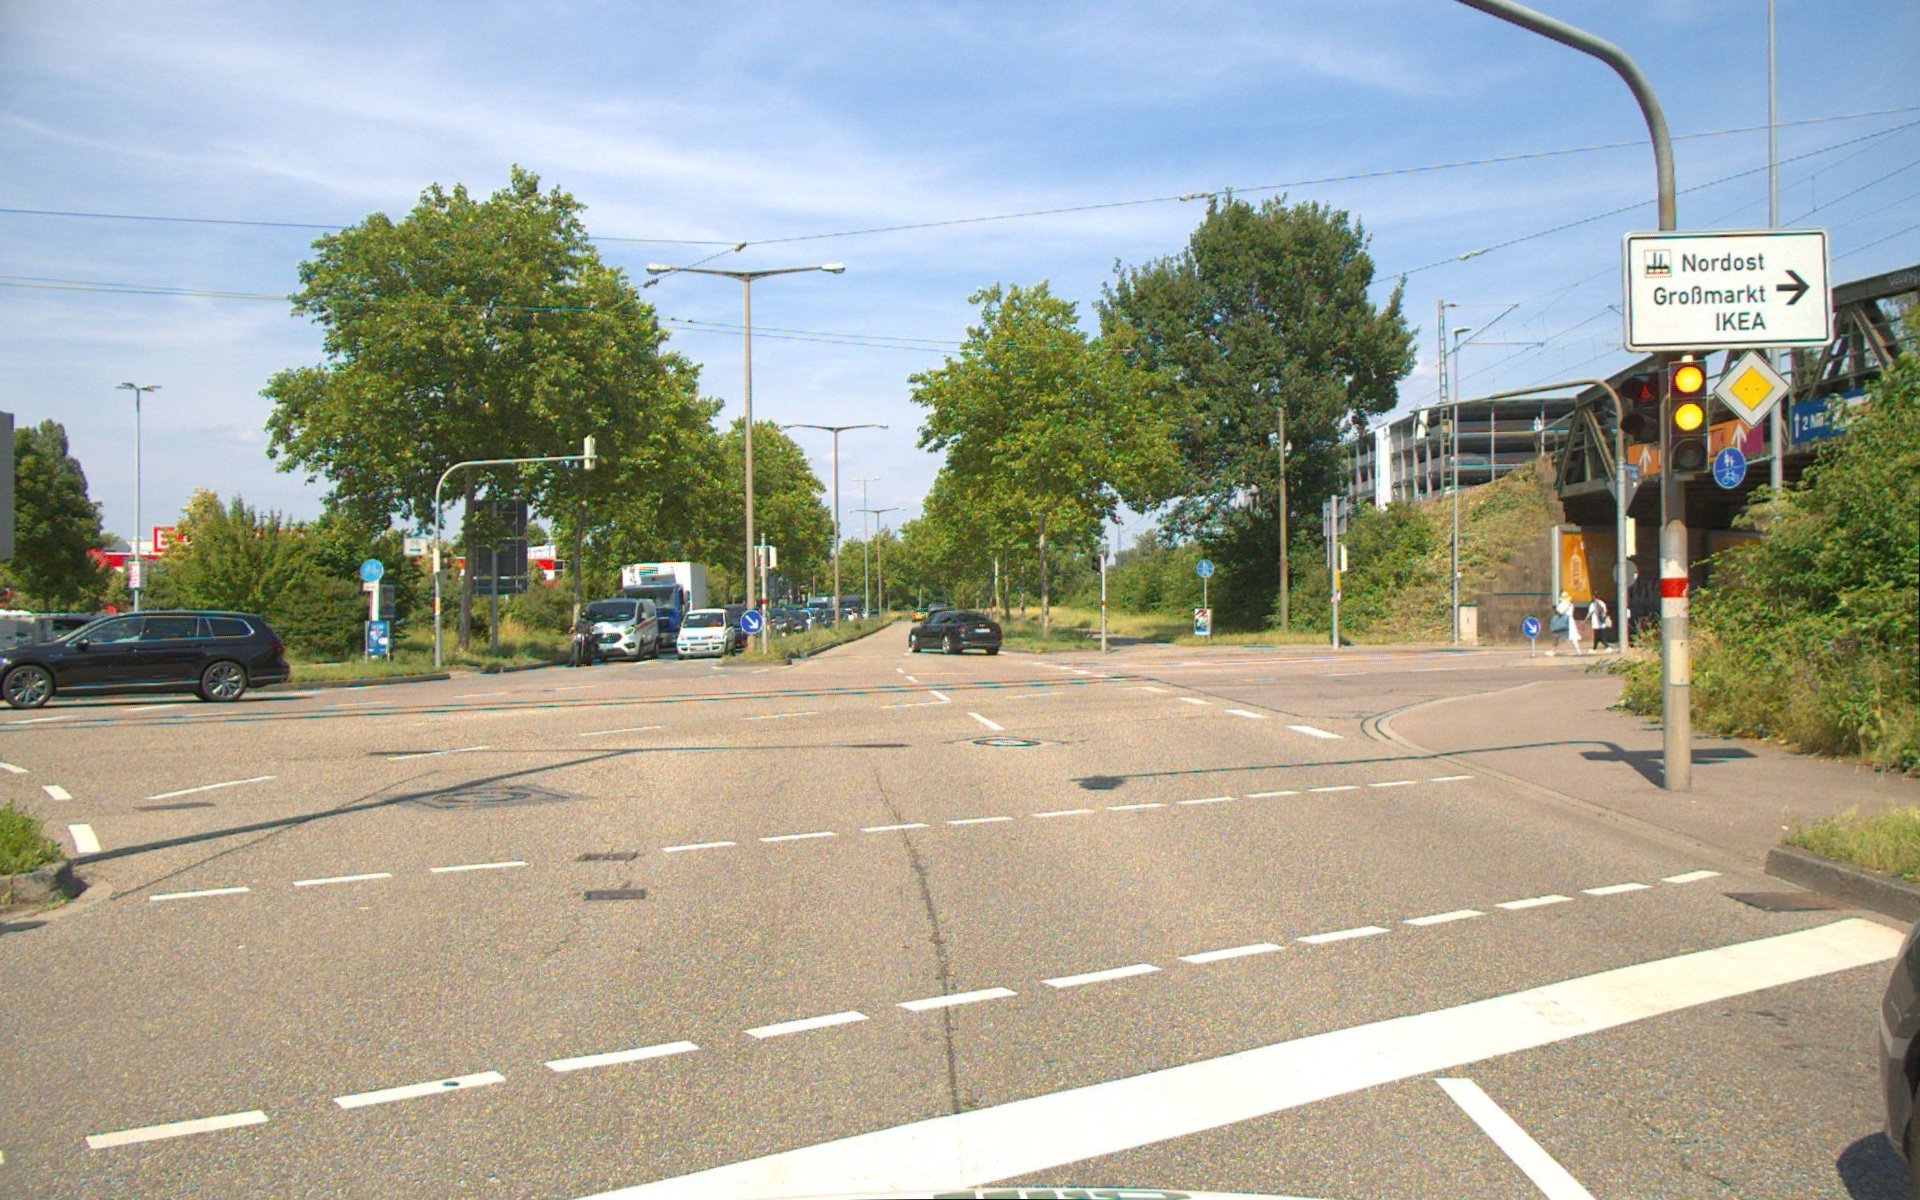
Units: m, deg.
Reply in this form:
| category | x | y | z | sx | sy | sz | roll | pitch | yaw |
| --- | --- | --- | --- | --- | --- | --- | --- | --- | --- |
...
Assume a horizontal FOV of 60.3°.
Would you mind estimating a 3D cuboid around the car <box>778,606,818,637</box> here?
| category | x | y | z | sx | sy | sz | roll | pitch | yaw |
| --- | --- | --- | --- | --- | --- | --- | --- | --- | --- |
| car | -8.270 | 1.088 | 84.727 | 1.654 | 1.497 | 3.814 | -2 | 0 | -1 |

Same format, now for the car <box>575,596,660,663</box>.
| category | x | y | z | sx | sy | sz | roll | pitch | yaw |
| --- | --- | --- | --- | --- | --- | --- | --- | --- | --- |
| car | -10.930 | 0.903 | 53.067 | 1.937 | 2.034 | 5.028 | -1 | 0 | -3 |

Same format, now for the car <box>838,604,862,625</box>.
| category | x | y | z | sx | sy | sz | roll | pitch | yaw |
| --- | --- | --- | --- | --- | --- | --- | --- | --- | --- |
| car | -8.754 | 1.158 | 131.637 | 1.654 | 1.537 | 3.814 | -2 | 0 | -1 |

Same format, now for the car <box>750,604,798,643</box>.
| category | x | y | z | sx | sy | sz | roll | pitch | yaw |
| --- | --- | --- | --- | --- | --- | --- | --- | --- | --- |
| car | -8.048 | 0.993 | 71.821 | 1.654 | 1.614 | 4.239 | -2 | 0 | -1 |

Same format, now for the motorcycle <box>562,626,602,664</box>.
| category | x | y | z | sx | sy | sz | roll | pitch | yaw |
| --- | --- | --- | --- | --- | --- | --- | --- | --- | --- |
| motorcycle | -10.959 | 1.294 | 47.968 | 0.674 | 1.009 | 2.217 | -1 | 0 | -1 |

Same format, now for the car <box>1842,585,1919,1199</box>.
| category | x | y | z | sx | sy | sz | roll | pitch | yaw |
| --- | --- | --- | --- | --- | --- | --- | --- | --- | --- |
| car | 2.985 | 0.715 | 2.057 | 1.640 | 1.479 | 4.036 | 1 | 0 | 0 |

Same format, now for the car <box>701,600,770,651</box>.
| category | x | y | z | sx | sy | sz | roll | pitch | yaw |
| --- | --- | --- | --- | --- | --- | --- | --- | --- | --- |
| car | -7.866 | 0.894 | 58.298 | 1.783 | 1.675 | 4.692 | -2 | -1 | -1 |

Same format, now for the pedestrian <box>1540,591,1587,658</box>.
| category | x | y | z | sx | sy | sz | roll | pitch | yaw |
| --- | --- | --- | --- | --- | --- | --- | --- | --- | --- |
| pedestrian | 14.928 | 0.597 | 40.927 | 0.850 | 1.640 | 0.777 | -1 | 0 | -1 |

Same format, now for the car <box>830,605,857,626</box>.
| category | x | y | z | sx | sy | sz | roll | pitch | yaw |
| --- | --- | --- | --- | --- | --- | --- | --- | --- | --- |
| car | -8.768 | 1.169 | 125.042 | 1.747 | 1.484 | 4.471 | -2 | 0 | -1 |

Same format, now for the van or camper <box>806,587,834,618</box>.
| category | x | y | z | sx | sy | sz | roll | pitch | yaw |
| --- | --- | --- | --- | --- | --- | --- | --- | --- | --- |
| van or camper | -12.446 | 0.221 | 147.219 | 1.974 | 2.633 | 5.516 | -2 | 0 | -1 |

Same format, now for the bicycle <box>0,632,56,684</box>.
| category | x | y | z | sx | sy | sz | roll | pitch | yaw |
| --- | --- | --- | --- | --- | --- | --- | --- | --- | --- |
| bicycle | -19.938 | 1.213 | 34.686 | 0.581 | 1.055 | 1.897 | -1 | 0 | 13 |

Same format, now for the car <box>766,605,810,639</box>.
| category | x | y | z | sx | sy | sz | roll | pitch | yaw |
| --- | --- | --- | --- | --- | --- | --- | --- | --- | --- |
| car | -8.207 | 1.039 | 79.092 | 1.655 | 1.499 | 4.217 | -3 | 0 | -1 |

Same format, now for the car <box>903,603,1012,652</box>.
| category | x | y | z | sx | sy | sz | roll | pitch | yaw |
| --- | --- | --- | --- | --- | --- | --- | --- | --- | --- |
| car | -0.142 | 0.872 | 54.362 | 1.884 | 1.489 | 4.585 | -1 | 0 | -25 |

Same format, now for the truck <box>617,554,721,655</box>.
| category | x | y | z | sx | sy | sz | roll | pitch | yaw |
| --- | --- | --- | --- | --- | --- | --- | --- | --- | --- |
| truck | -11.039 | 0.158 | 63.390 | 2.747 | 3.532 | 6.690 | -3 | 0 | -1 |

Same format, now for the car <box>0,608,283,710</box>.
| category | x | y | z | sx | sy | sz | roll | pitch | yaw |
| --- | --- | --- | --- | --- | --- | --- | --- | --- | --- |
| car | -13.285 | 0.893 | 26.613 | 4.171 | 1.468 | 1.769 | -1 | 0 | -34 |

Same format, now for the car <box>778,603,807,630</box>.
| category | x | y | z | sx | sy | sz | roll | pitch | yaw |
| --- | --- | --- | --- | --- | --- | --- | --- | --- | --- |
| car | -12.003 | 1.183 | 118.706 | 1.654 | 1.891 | 4.035 | -2 | -1 | -1 |

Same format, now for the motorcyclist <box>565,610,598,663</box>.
| category | x | y | z | sx | sy | sz | roll | pitch | yaw |
| --- | --- | --- | --- | --- | --- | --- | --- | --- | --- |
| motorcyclist | -10.994 | 1.045 | 48.063 | 0.728 | 1.496 | 0.987 | -1 | 0 | -1 |

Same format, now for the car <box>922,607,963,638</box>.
| category | x | y | z | sx | sy | sz | roll | pitch | yaw |
| --- | --- | --- | --- | --- | --- | --- | --- | --- | --- |
| car | -0.883 | 1.035 | 79.152 | 1.797 | 1.416 | 4.262 | -1 | 0 | -3 |

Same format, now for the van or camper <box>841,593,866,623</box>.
| category | x | y | z | sx | sy | sz | roll | pitch | yaw |
| --- | --- | --- | --- | --- | --- | --- | --- | --- | --- |
| van or camper | -9.041 | 0.727 | 140.559 | 1.899 | 2.410 | 5.395 | -2 | -1 | -2 |

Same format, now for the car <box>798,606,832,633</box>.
| category | x | y | z | sx | sy | sz | roll | pitch | yaw |
| --- | --- | --- | --- | --- | --- | --- | --- | --- | --- |
| car | -8.534 | 1.139 | 97.418 | 1.749 | 1.515 | 4.209 | -2 | 0 | -2 |

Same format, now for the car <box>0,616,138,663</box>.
| category | x | y | z | sx | sy | sz | roll | pitch | yaw |
| --- | --- | --- | --- | --- | --- | --- | --- | --- | --- |
| car | -29.701 | 1.287 | 54.191 | 4.476 | 1.439 | 2.197 | -1 | 0 | -8 |

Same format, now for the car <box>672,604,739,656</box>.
| category | x | y | z | sx | sy | sz | roll | pitch | yaw |
| --- | --- | --- | --- | --- | --- | --- | --- | --- | --- |
| car | -8.028 | 0.921 | 52.410 | 1.560 | 1.503 | 3.728 | -2 | 0 | -1 |

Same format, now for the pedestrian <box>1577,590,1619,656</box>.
| category | x | y | z | sx | sy | sz | roll | pitch | yaw |
| --- | --- | --- | --- | --- | --- | --- | --- | --- | --- |
| pedestrian | 15.885 | 0.569 | 41.177 | 0.714 | 1.607 | 0.777 | -1 | 0 | -1 |
